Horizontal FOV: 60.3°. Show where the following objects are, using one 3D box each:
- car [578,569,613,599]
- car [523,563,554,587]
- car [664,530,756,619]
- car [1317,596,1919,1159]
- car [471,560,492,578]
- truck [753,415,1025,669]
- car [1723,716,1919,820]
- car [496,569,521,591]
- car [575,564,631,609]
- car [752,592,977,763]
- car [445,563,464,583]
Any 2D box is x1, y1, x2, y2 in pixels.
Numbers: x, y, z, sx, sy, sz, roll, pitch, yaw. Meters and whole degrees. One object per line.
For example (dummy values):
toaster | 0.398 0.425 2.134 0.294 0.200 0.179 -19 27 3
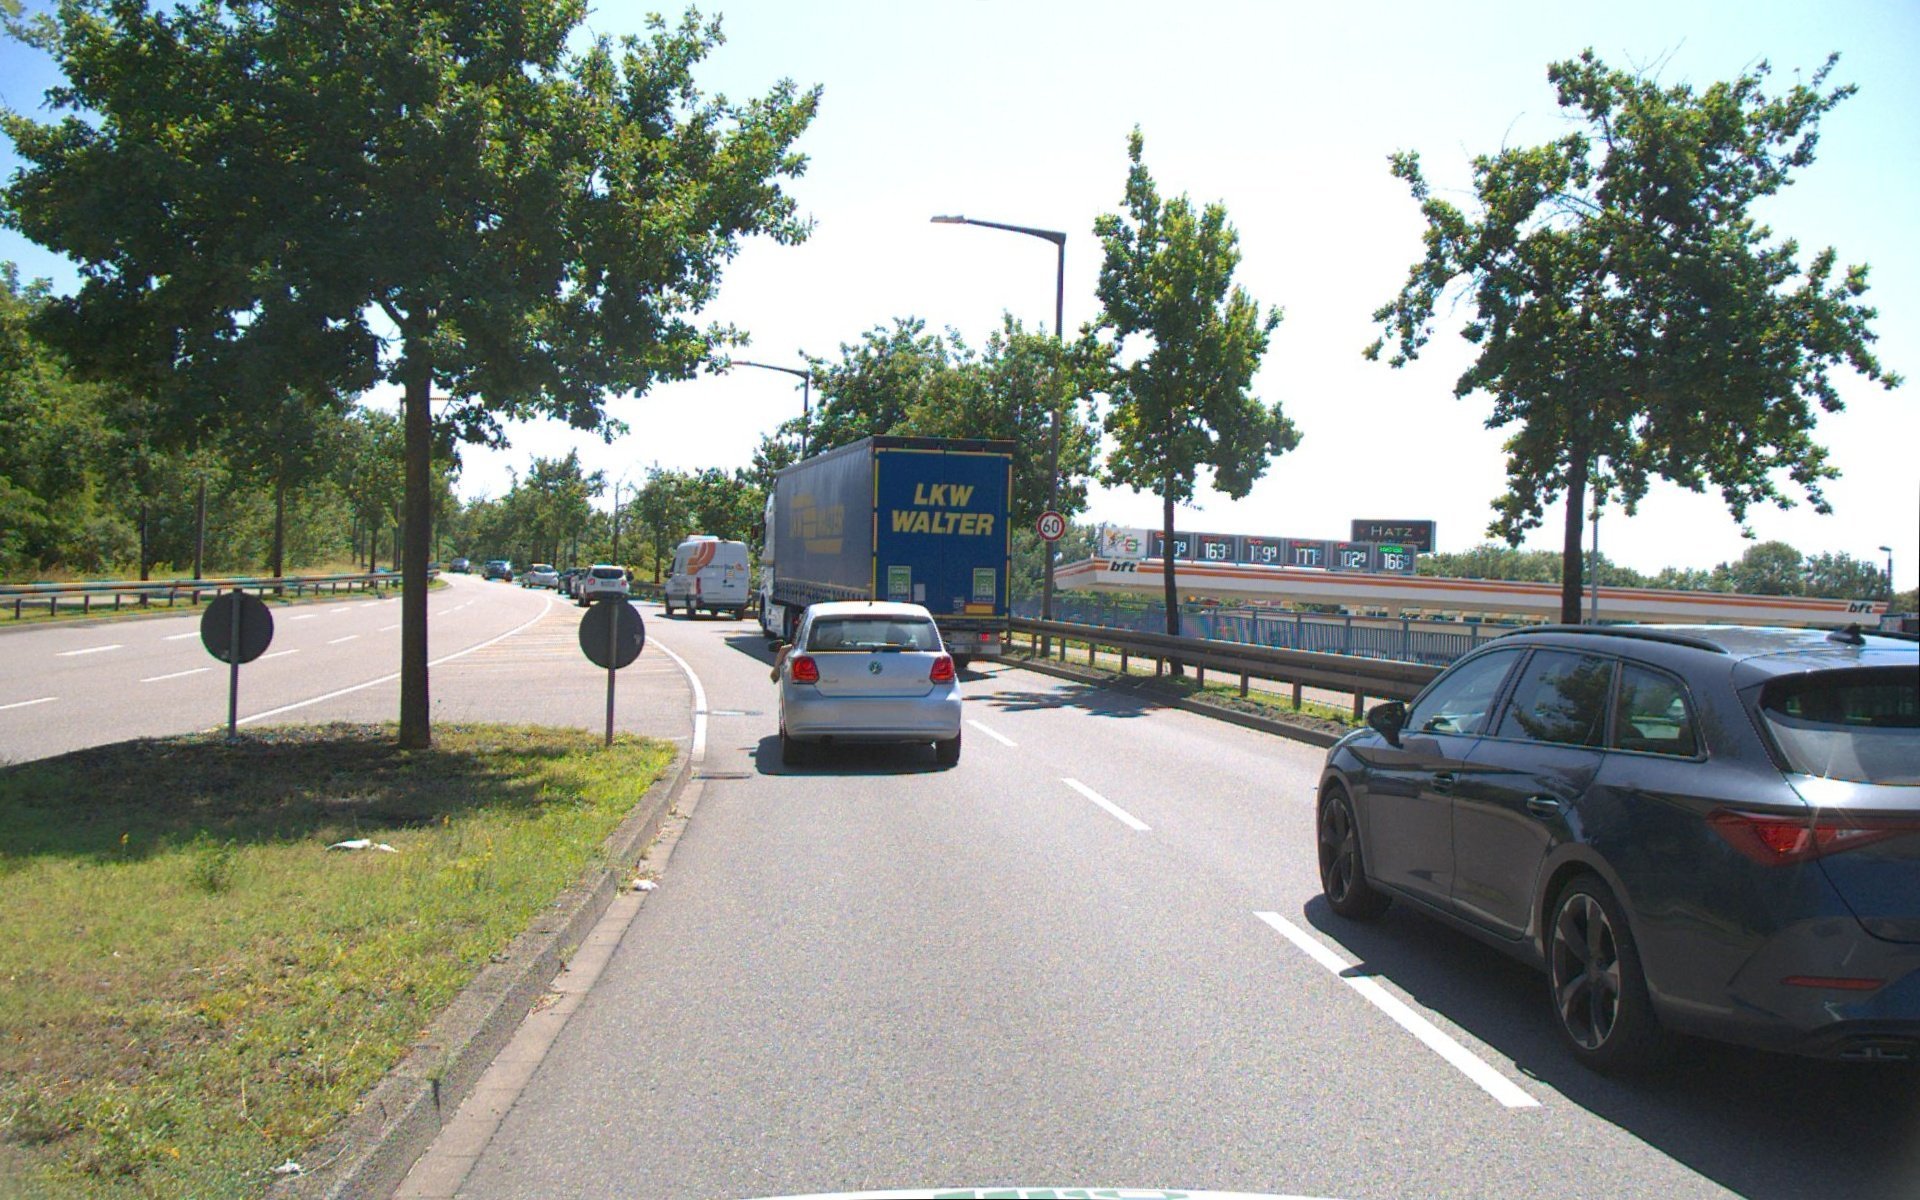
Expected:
car | -17.447 -0.747 79.069 1.470 1.384 3.648 2 0 -15
car | -25.692 -1.514 100.855 1.583 1.384 3.644 2 0 -18
car | -9.013 -0.930 59.149 2.142 2.951 6.324 2 1 -19
car | 2.801 0.790 6.536 1.573 1.481 4.231 2 -1 -4
car | -40.026 -2.546 138.403 1.432 1.337 3.624 2 -1 -14
truck | -2.183 -0.972 36.426 2.785 4.272 16.415 2 0 -14
car | 13.607 2.530 25.248 1.451 1.331 3.271 3 -2 -39
car | -33.282 -1.459 121.978 1.637 1.491 3.568 2 -1 -14
car | -14.890 -0.539 68.816 1.873 1.748 4.203 2 -1 -17
car | -1.038 0.710 16.147 1.617 1.464 3.525 2 -1 -13
car | -47.223 -2.550 154.553 1.652 1.700 3.739 1 2 -16
